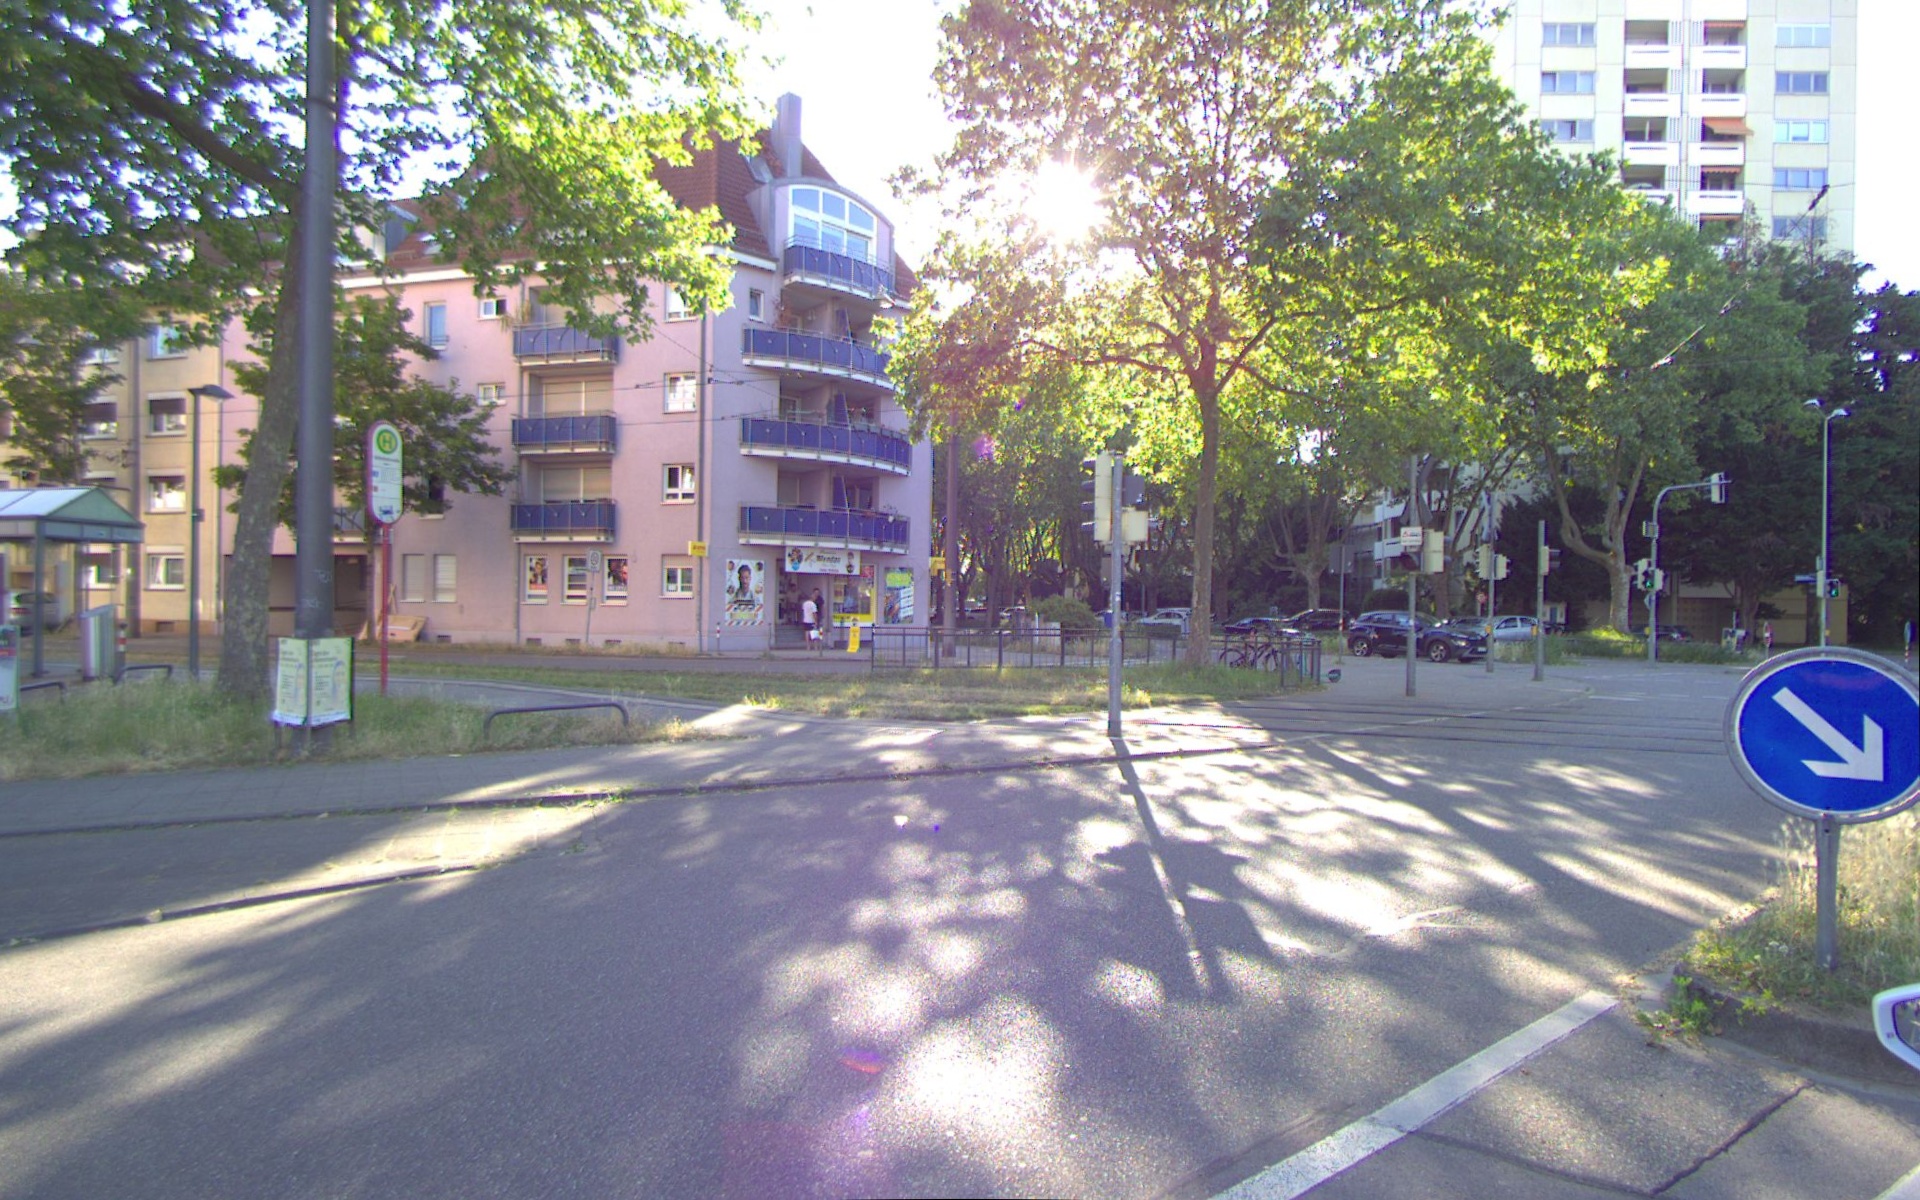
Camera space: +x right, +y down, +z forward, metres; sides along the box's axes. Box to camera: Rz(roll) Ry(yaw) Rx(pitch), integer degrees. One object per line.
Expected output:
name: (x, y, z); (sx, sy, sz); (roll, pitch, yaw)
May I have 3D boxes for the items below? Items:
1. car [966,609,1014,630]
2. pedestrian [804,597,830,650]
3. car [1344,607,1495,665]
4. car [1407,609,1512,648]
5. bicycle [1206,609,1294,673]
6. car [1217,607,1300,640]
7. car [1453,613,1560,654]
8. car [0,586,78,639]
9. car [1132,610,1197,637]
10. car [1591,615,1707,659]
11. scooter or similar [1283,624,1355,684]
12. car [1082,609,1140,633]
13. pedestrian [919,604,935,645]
car: (2.607, 1.666, 86.367); (3.919, 1.617, 1.739); (2, 0, 9)
pedestrian: (-4.646, 0.767, 32.647); (0.610, 1.689, 0.549); (2, 0, 38)
car: (14.291, 1.084, 31.442); (1.722, 1.617, 3.959); (2, 0, -36)
car: (22.842, 1.295, 46.035); (3.921, 1.617, 1.738); (2, 0, 0)
bicycle: (6.402, 0.880, 22.246); (1.811, 1.324, 0.382); (2, 0, 34)
car: (15.913, 1.238, 53.682); (3.921, 1.617, 1.738); (2, 0, 0)
car: (23.880, 1.461, 43.984); (3.732, 1.617, 1.738); (2, 0, 0)
car: (-33.477, 0.393, 35.216); (4.029, 1.728, 1.940); (2, 0, 16)
car: (13.402, 1.548, 65.984); (3.921, 1.617, 1.738); (2, 0, 0)
car: (31.613, 1.676, 46.205); (1.971, 1.798, 3.979); (2, 0, -22)
scooter or similar: (7.924, 1.182, 22.205); (1.412, 1.255, 0.414); (2, 0, 9)
car: (11.083, 1.520, 73.899); (3.921, 1.617, 1.738); (2, 0, 0)
pedestrian: (-1.397, 1.000, 41.984); (0.541, 1.689, 0.619); (2, 0, -10)
